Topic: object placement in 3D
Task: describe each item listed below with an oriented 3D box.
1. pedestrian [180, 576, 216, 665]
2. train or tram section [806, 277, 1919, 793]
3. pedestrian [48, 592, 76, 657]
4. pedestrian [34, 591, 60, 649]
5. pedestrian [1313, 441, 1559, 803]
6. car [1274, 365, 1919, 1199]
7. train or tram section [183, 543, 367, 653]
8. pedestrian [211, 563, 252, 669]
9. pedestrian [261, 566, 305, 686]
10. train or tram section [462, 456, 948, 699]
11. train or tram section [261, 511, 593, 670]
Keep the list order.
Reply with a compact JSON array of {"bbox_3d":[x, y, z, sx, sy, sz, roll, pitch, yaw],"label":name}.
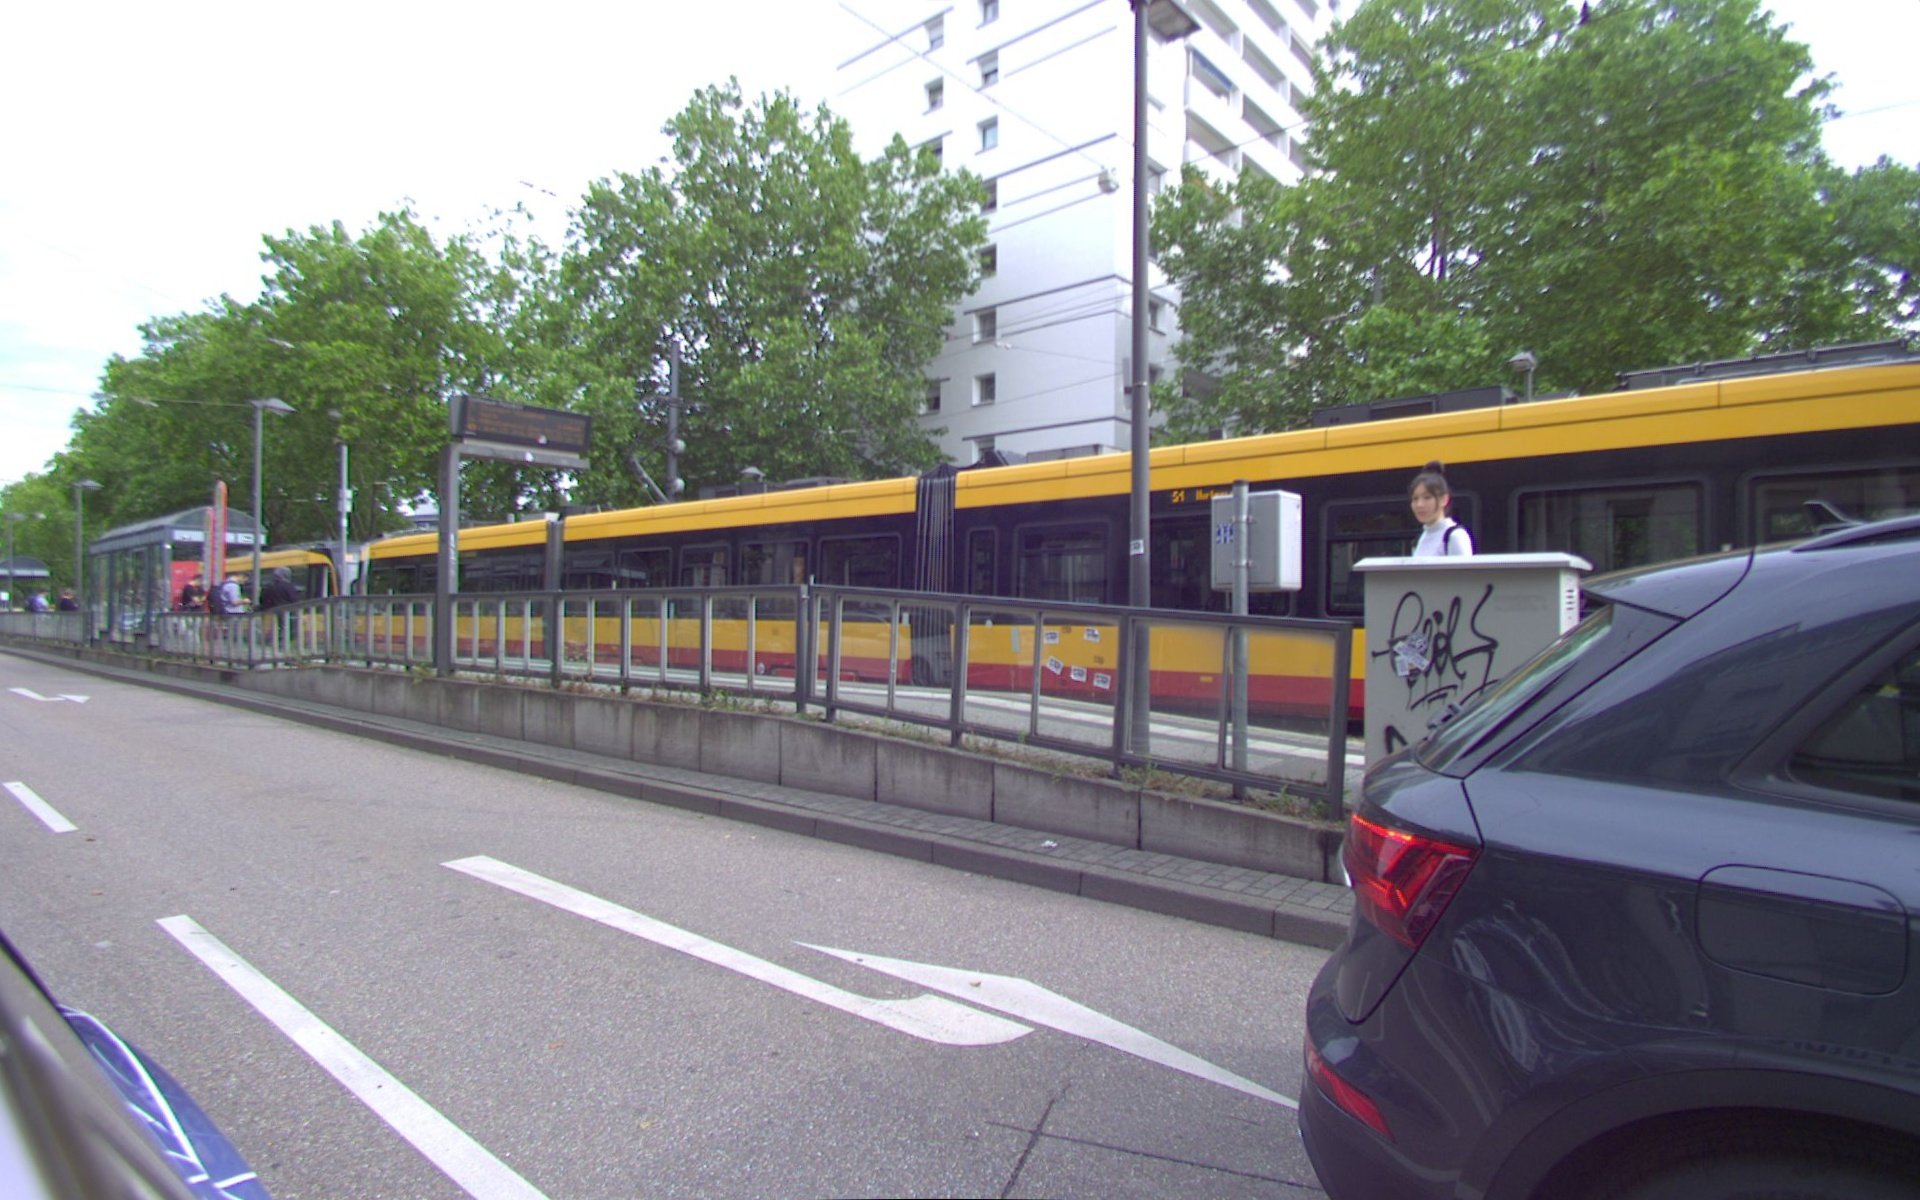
[{"bbox_3d":[-15.929,0.422,21.163,0.467,1.818,0.607,-1,0,-24],"label":"pedestrian"},{"bbox_3d":[4.401,-0.439,11.926,15.196,3.781,3.295,-1,0,41],"label":"train or tram section"},{"bbox_3d":[-25.572,0.697,28.824,0.523,1.818,0.607,-1,0,-35],"label":"pedestrian"},{"bbox_3d":[-29.042,0.628,32.186,0.523,1.818,0.607,-1,0,-35],"label":"pedestrian"},{"bbox_3d":[2.377,0.108,5.172,0.969,1.683,0.718,-1,0,12],"label":"pedestrian"},{"bbox_3d":[2.686,0.528,0.974,4.225,1.649,1.715,-1,0,41],"label":"car"},{"bbox_3d":[-27.051,-0.031,39.645,11.039,3.781,3.295,-1,0,41],"label":"train or tram section"},{"bbox_3d":[-12.755,0.269,17.718,0.605,1.818,0.469,-1,0,45],"label":"pedestrian"},{"bbox_3d":[-10.533,0.391,15.743,0.513,1.818,0.606,-1,0,-37],"label":"pedestrian"},{"bbox_3d":[-6.009,-0.304,21.108,12.543,3.781,3.295,-1,0,41],"label":"train or tram section"},{"bbox_3d":[-16.777,-0.164,30.584,16.241,3.781,3.295,-1,0,41],"label":"train or tram section"}]
